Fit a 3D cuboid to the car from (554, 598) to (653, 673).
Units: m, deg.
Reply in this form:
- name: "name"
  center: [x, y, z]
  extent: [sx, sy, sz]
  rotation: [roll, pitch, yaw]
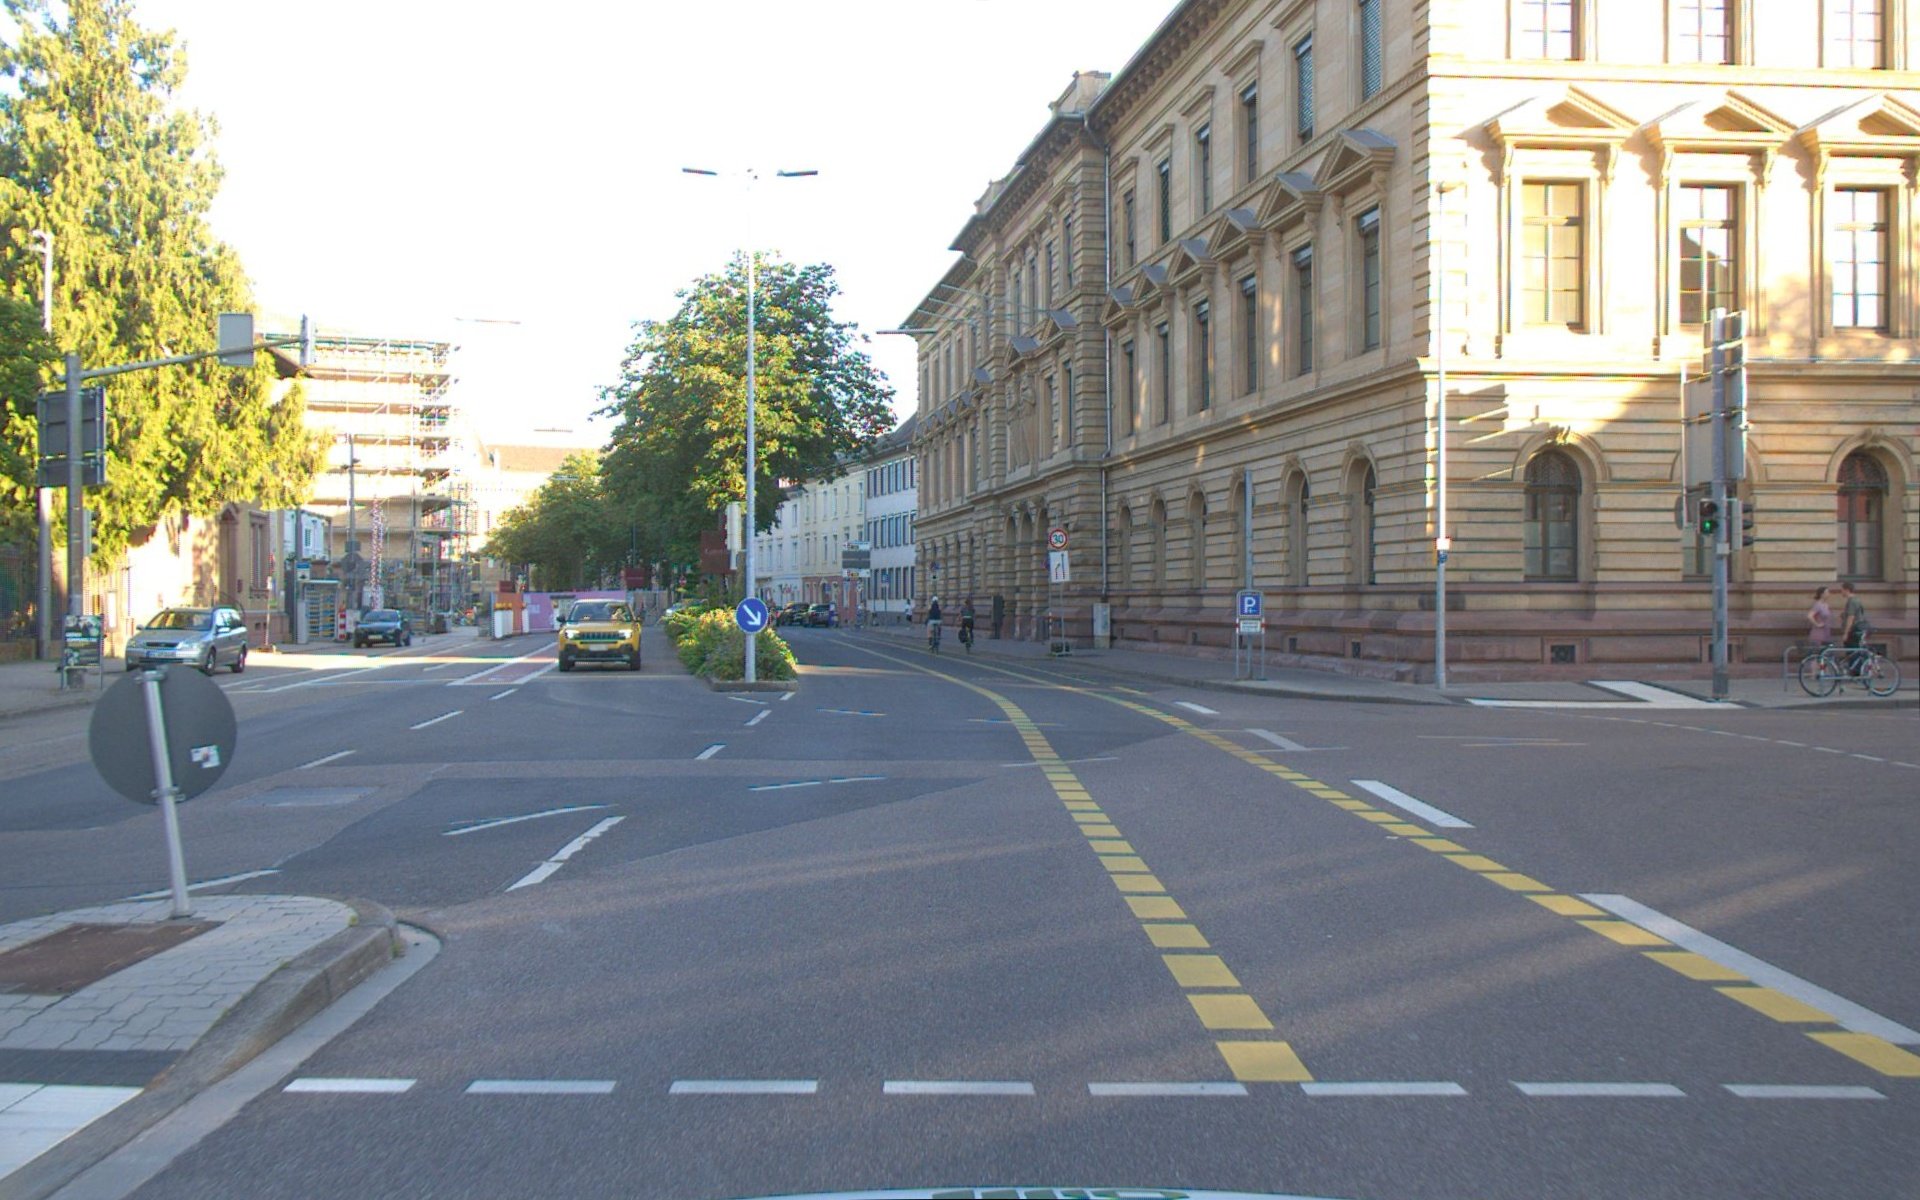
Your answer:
- name: "car"
  center: [-7.984, 0.767, 37.344]
  extent: [1.810, 1.574, 4.112]
  rotation: [-1, 0, -7]

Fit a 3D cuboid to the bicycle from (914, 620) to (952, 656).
- name: "bicycle"
  center: [-0.853, 1.168, 51.173]
  extent: [0.659, 1.090, 1.892]
  rotation: [2, -1, -17]

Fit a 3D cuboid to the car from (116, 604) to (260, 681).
- name: "car"
  center: [-16.955, 0.891, 36.548]
  extent: [1.712, 1.574, 4.360]
  rotation: [1, 0, -9]

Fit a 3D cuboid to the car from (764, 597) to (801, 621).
- name: "car"
  center: [-12.917, 0.669, 120.059]
  extent: [1.786, 1.713, 3.976]
  rotation: [0, -1, -20]

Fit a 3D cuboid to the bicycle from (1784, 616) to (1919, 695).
- name: "bicycle"
  center: [14.837, 0.905, 27.333]
  extent: [2.009, 1.228, 0.862]
  rotation: [0, 2, -3]

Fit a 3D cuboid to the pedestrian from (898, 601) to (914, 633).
- name: "pedestrian"
  center: [-3.017, 0.958, 92.547]
  extent: [0.801, 1.796, 1.037]
  rotation: [1, 0, -6]

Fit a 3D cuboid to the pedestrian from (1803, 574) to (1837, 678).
- name: "pedestrian"
  center: [15.757, 0.470, 30.293]
  extent: [0.446, 1.890, 0.421]
  rotation: [0, -1, -43]

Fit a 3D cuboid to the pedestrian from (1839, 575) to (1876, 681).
- name: "pedestrian"
  center: [16.254, 0.502, 29.957]
  extent: [0.523, 1.890, 0.622]
  rotation: [-1, 0, 24]

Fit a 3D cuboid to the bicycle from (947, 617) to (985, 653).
- name: "bicycle"
  center: [0.191, 1.107, 52.300]
  extent: [0.642, 1.089, 2.249]
  rotation: [2, -1, -14]

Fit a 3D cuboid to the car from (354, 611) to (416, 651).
- name: "car"
  center: [-21.265, 1.115, 61.259]
  extent: [1.650, 1.375, 3.875]
  rotation: [-2, 0, -12]

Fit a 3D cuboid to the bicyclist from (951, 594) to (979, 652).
- name: "bicyclist"
  center: [0.163, 0.727, 52.400]
  extent: [0.638, 1.791, 0.861]
  rotation: [2, -1, -14]

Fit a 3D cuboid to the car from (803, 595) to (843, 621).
- name: "car"
  center: [-9.350, 0.572, 112.549]
  extent: [1.786, 1.712, 3.896]
  rotation: [0, -1, -20]

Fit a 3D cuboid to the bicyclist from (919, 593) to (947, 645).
- name: "bicyclist"
  center: [-0.842, 0.589, 51.195]
  extent: [0.658, 1.593, 0.695]
  rotation: [2, -1, -17]
